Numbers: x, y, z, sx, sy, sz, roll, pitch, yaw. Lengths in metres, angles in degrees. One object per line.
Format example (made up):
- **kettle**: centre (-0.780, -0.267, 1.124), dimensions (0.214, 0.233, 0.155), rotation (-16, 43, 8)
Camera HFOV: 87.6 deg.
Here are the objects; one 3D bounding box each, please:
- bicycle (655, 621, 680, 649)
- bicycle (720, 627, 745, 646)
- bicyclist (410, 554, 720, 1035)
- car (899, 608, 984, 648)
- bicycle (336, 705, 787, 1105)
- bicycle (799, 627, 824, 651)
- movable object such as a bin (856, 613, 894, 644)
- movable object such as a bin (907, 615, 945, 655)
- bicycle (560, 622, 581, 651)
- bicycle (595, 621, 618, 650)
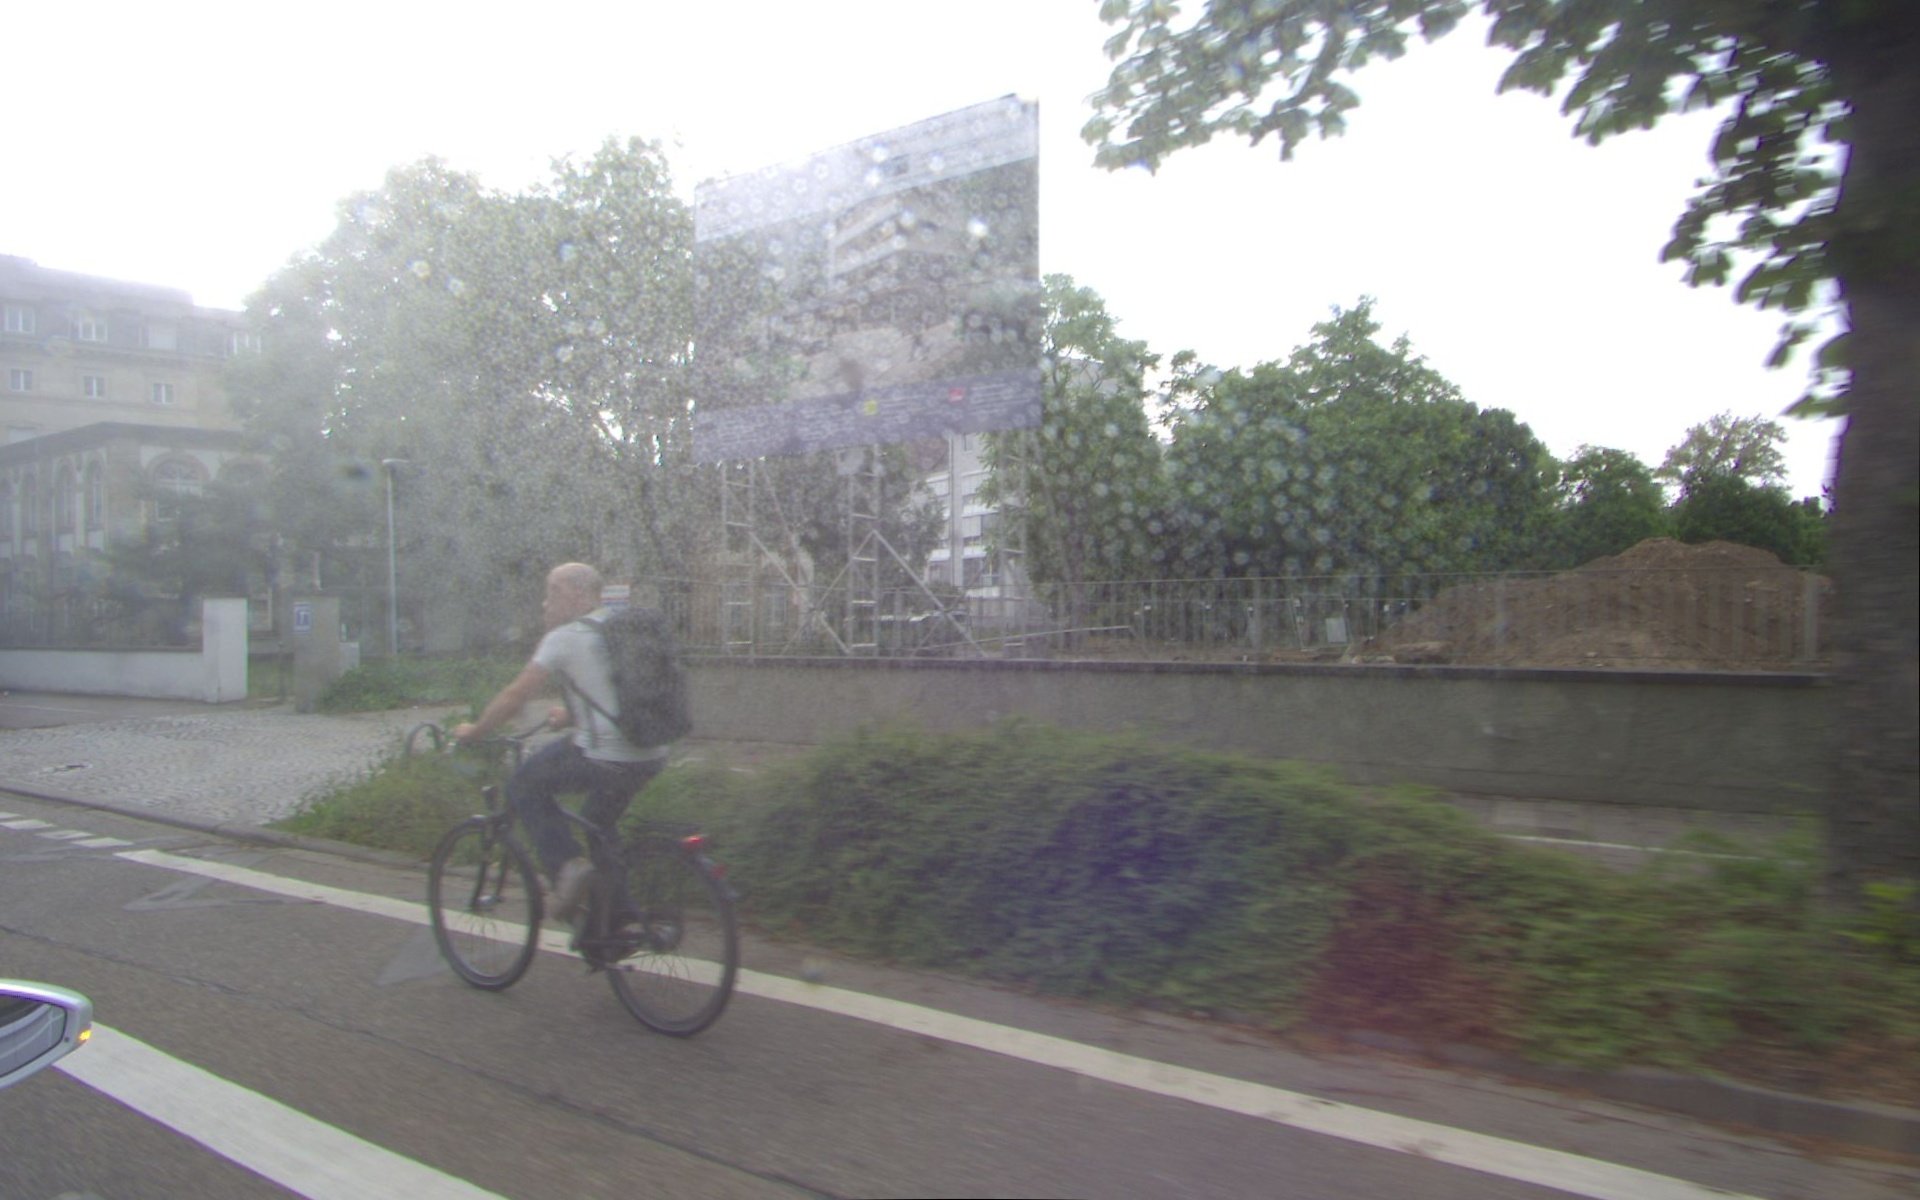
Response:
- **bicycle**: centre (-12.227, 1.439, 41.794), dimensions (0.609, 1.134, 2.212), rotation (0, -1, -26)
- **bicycle**: centre (-9.884, 1.576, 43.489), dimensions (0.609, 0.824, 1.937), rotation (0, -1, -26)
- **bicyclist**: centre (-1.518, 0.659, 3.861), dimensions (0.972, 1.590, 0.661), rotation (0, -1, 33)
- **car**: centre (-0.948, 1.487, 53.270), dimensions (4.300, 2.039, 1.841), rotation (1, -2, -38)
- **bicycle**: centre (-1.598, 1.031, 3.904), dimensions (1.840, 1.131, 0.663), rotation (-1, -2, 33)
- **bicycle**: centre (-6.740, 1.749, 45.464), dimensions (0.391, 1.079, 1.816), rotation (0, -1, -34)
- **movable object such as a bin**: centre (-3.594, 1.203, 42.310), dimensions (1.044, 1.281, 1.342), rotation (0, -1, -41)
- **movable object such as a bin**: centre (-1.311, 1.340, 38.400), dimensions (1.039, 1.469, 1.349), rotation (0, 1, -24)
- **bicycle**: centre (-15.470, 1.436, 39.755), dimensions (0.609, 1.134, 2.212), rotation (0, -1, -26)
- **bicycle**: centre (-14.258, 1.416, 40.374), dimensions (0.609, 1.134, 2.212), rotation (0, -1, -26)
